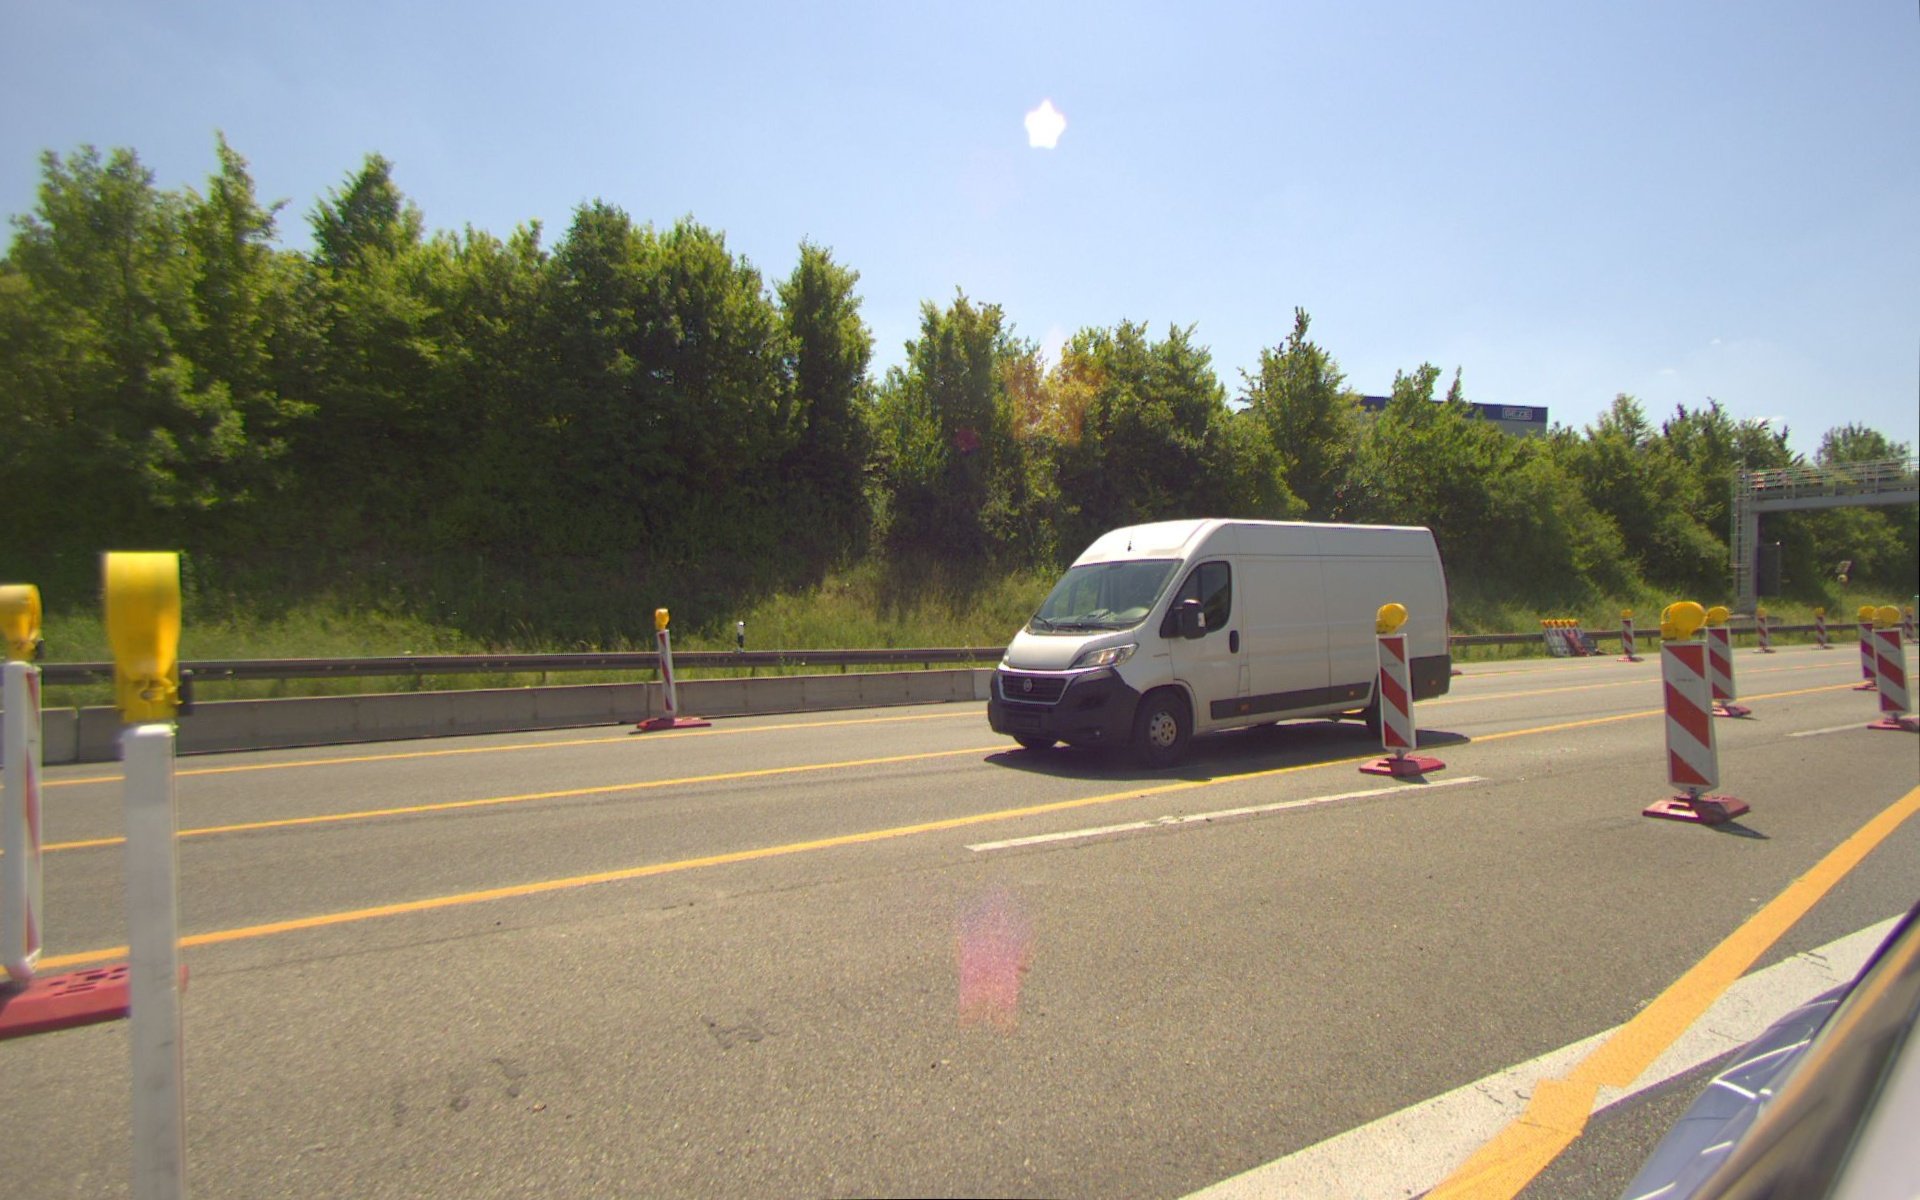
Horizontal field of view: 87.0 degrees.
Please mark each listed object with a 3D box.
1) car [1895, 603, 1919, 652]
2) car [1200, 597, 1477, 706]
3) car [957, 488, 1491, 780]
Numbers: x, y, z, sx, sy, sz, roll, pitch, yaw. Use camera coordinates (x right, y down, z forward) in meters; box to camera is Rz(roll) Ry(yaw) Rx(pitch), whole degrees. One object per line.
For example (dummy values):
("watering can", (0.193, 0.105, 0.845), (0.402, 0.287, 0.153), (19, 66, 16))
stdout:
("car", (31.428, 0.846, 31.991), (4.591, 1.505, 1.999), (0, -1, -37))
("car", (6.816, 0.797, 18.022), (5.136, 1.684, 2.026), (0, 0, -34))
("car", (3.266, 0.293, 11.681), (6.458, 2.568, 2.273), (0, 0, -34))
